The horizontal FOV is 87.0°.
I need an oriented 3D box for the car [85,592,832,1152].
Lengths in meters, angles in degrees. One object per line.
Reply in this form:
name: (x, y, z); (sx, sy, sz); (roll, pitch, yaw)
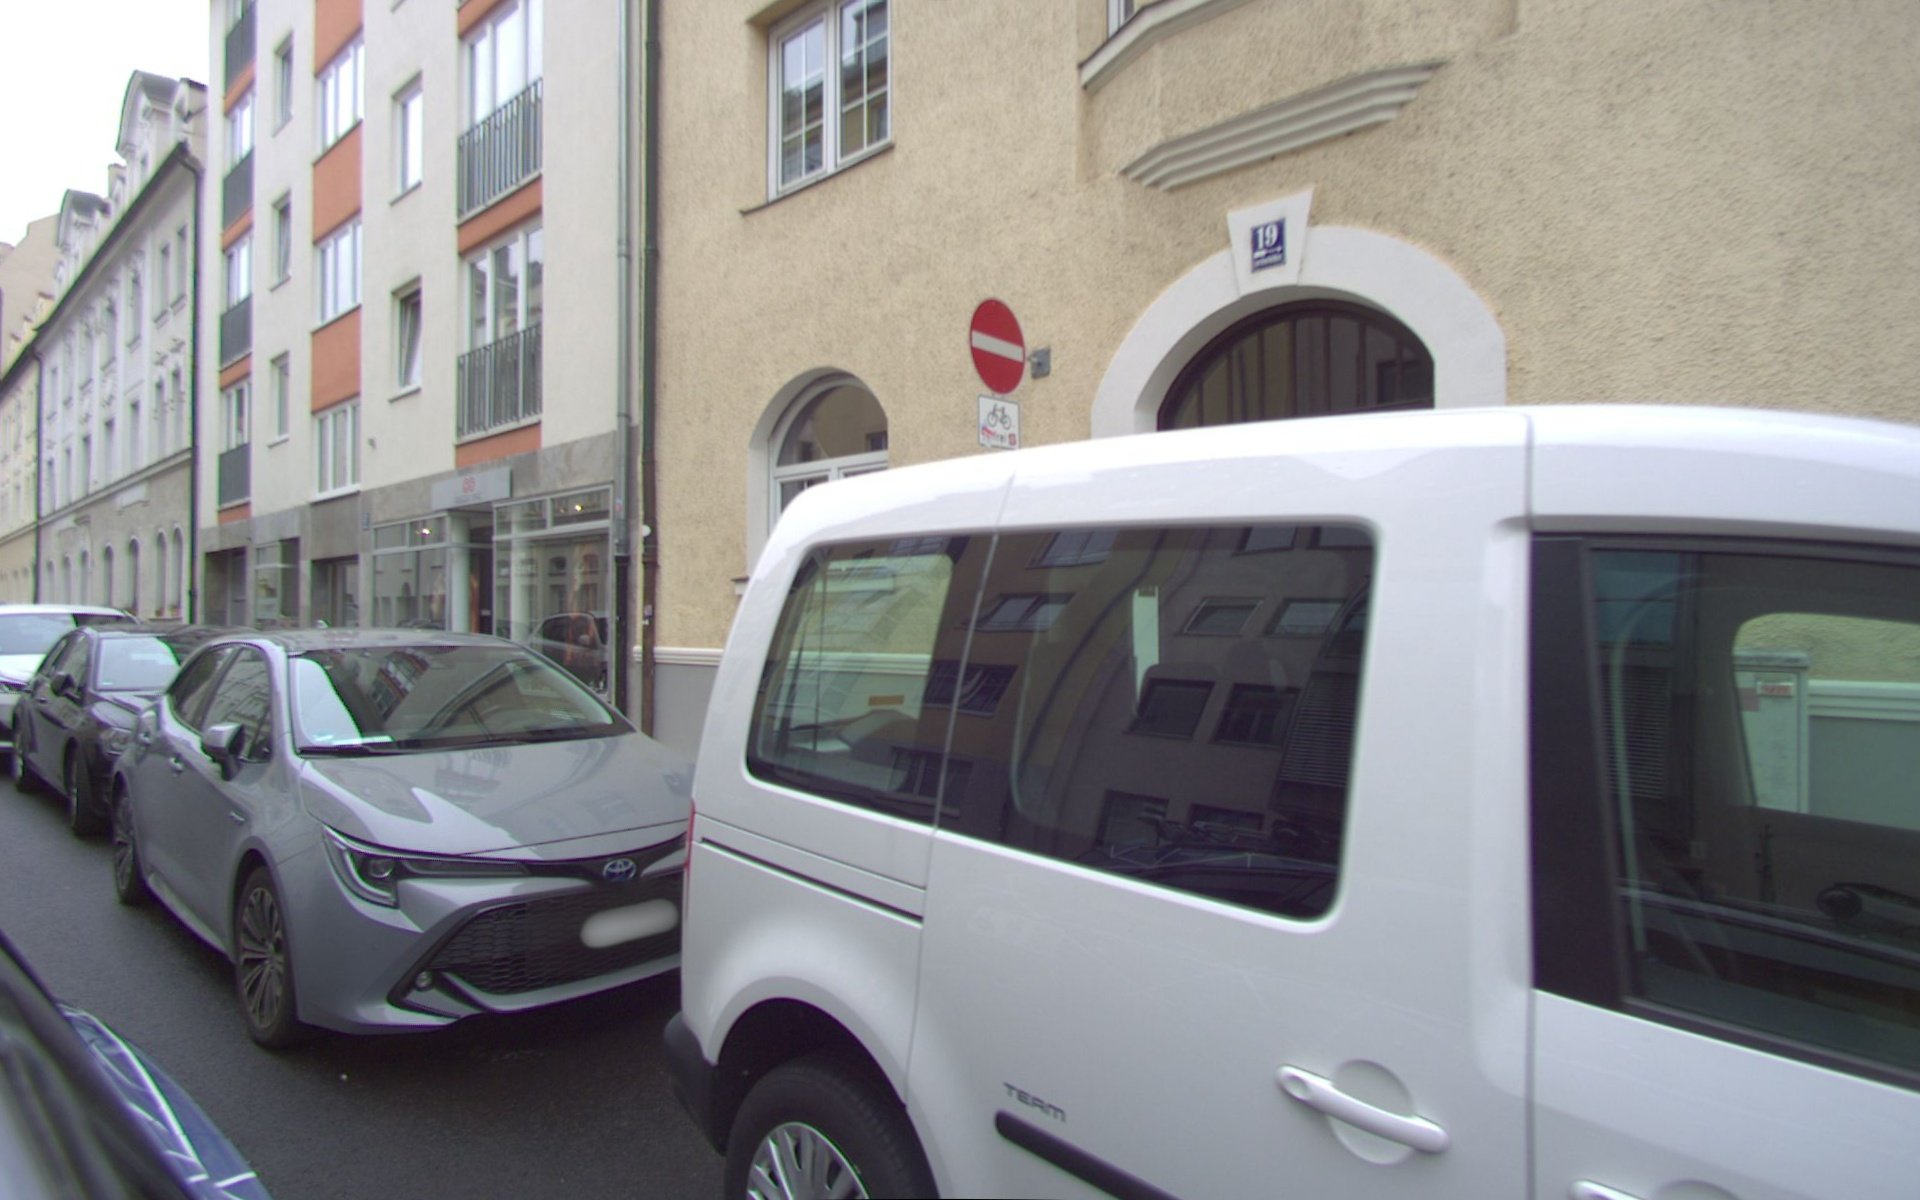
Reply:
car: (-2.599, 0.754, 4.708); (4.111, 1.486, 1.654); (0, -3, 42)

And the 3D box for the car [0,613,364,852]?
car: (-6.452, 0.898, 8.195); (3.839, 1.486, 1.611); (-1, -4, 41)

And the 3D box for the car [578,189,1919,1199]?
car: (1.300, 0.603, 1.470); (4.249, 1.802, 1.705); (0, -3, 43)

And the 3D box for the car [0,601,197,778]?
car: (-10.169, 0.885, 11.088); (4.302, 1.617, 1.764); (-1, -4, 38)

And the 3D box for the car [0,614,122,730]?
car: (-13.527, 0.974, 14.514); (4.027, 1.486, 1.611); (-1, -4, 41)

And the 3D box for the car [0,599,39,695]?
car: (-20.903, 0.927, 21.073); (4.906, 1.875, 1.926); (-1, -4, 41)
